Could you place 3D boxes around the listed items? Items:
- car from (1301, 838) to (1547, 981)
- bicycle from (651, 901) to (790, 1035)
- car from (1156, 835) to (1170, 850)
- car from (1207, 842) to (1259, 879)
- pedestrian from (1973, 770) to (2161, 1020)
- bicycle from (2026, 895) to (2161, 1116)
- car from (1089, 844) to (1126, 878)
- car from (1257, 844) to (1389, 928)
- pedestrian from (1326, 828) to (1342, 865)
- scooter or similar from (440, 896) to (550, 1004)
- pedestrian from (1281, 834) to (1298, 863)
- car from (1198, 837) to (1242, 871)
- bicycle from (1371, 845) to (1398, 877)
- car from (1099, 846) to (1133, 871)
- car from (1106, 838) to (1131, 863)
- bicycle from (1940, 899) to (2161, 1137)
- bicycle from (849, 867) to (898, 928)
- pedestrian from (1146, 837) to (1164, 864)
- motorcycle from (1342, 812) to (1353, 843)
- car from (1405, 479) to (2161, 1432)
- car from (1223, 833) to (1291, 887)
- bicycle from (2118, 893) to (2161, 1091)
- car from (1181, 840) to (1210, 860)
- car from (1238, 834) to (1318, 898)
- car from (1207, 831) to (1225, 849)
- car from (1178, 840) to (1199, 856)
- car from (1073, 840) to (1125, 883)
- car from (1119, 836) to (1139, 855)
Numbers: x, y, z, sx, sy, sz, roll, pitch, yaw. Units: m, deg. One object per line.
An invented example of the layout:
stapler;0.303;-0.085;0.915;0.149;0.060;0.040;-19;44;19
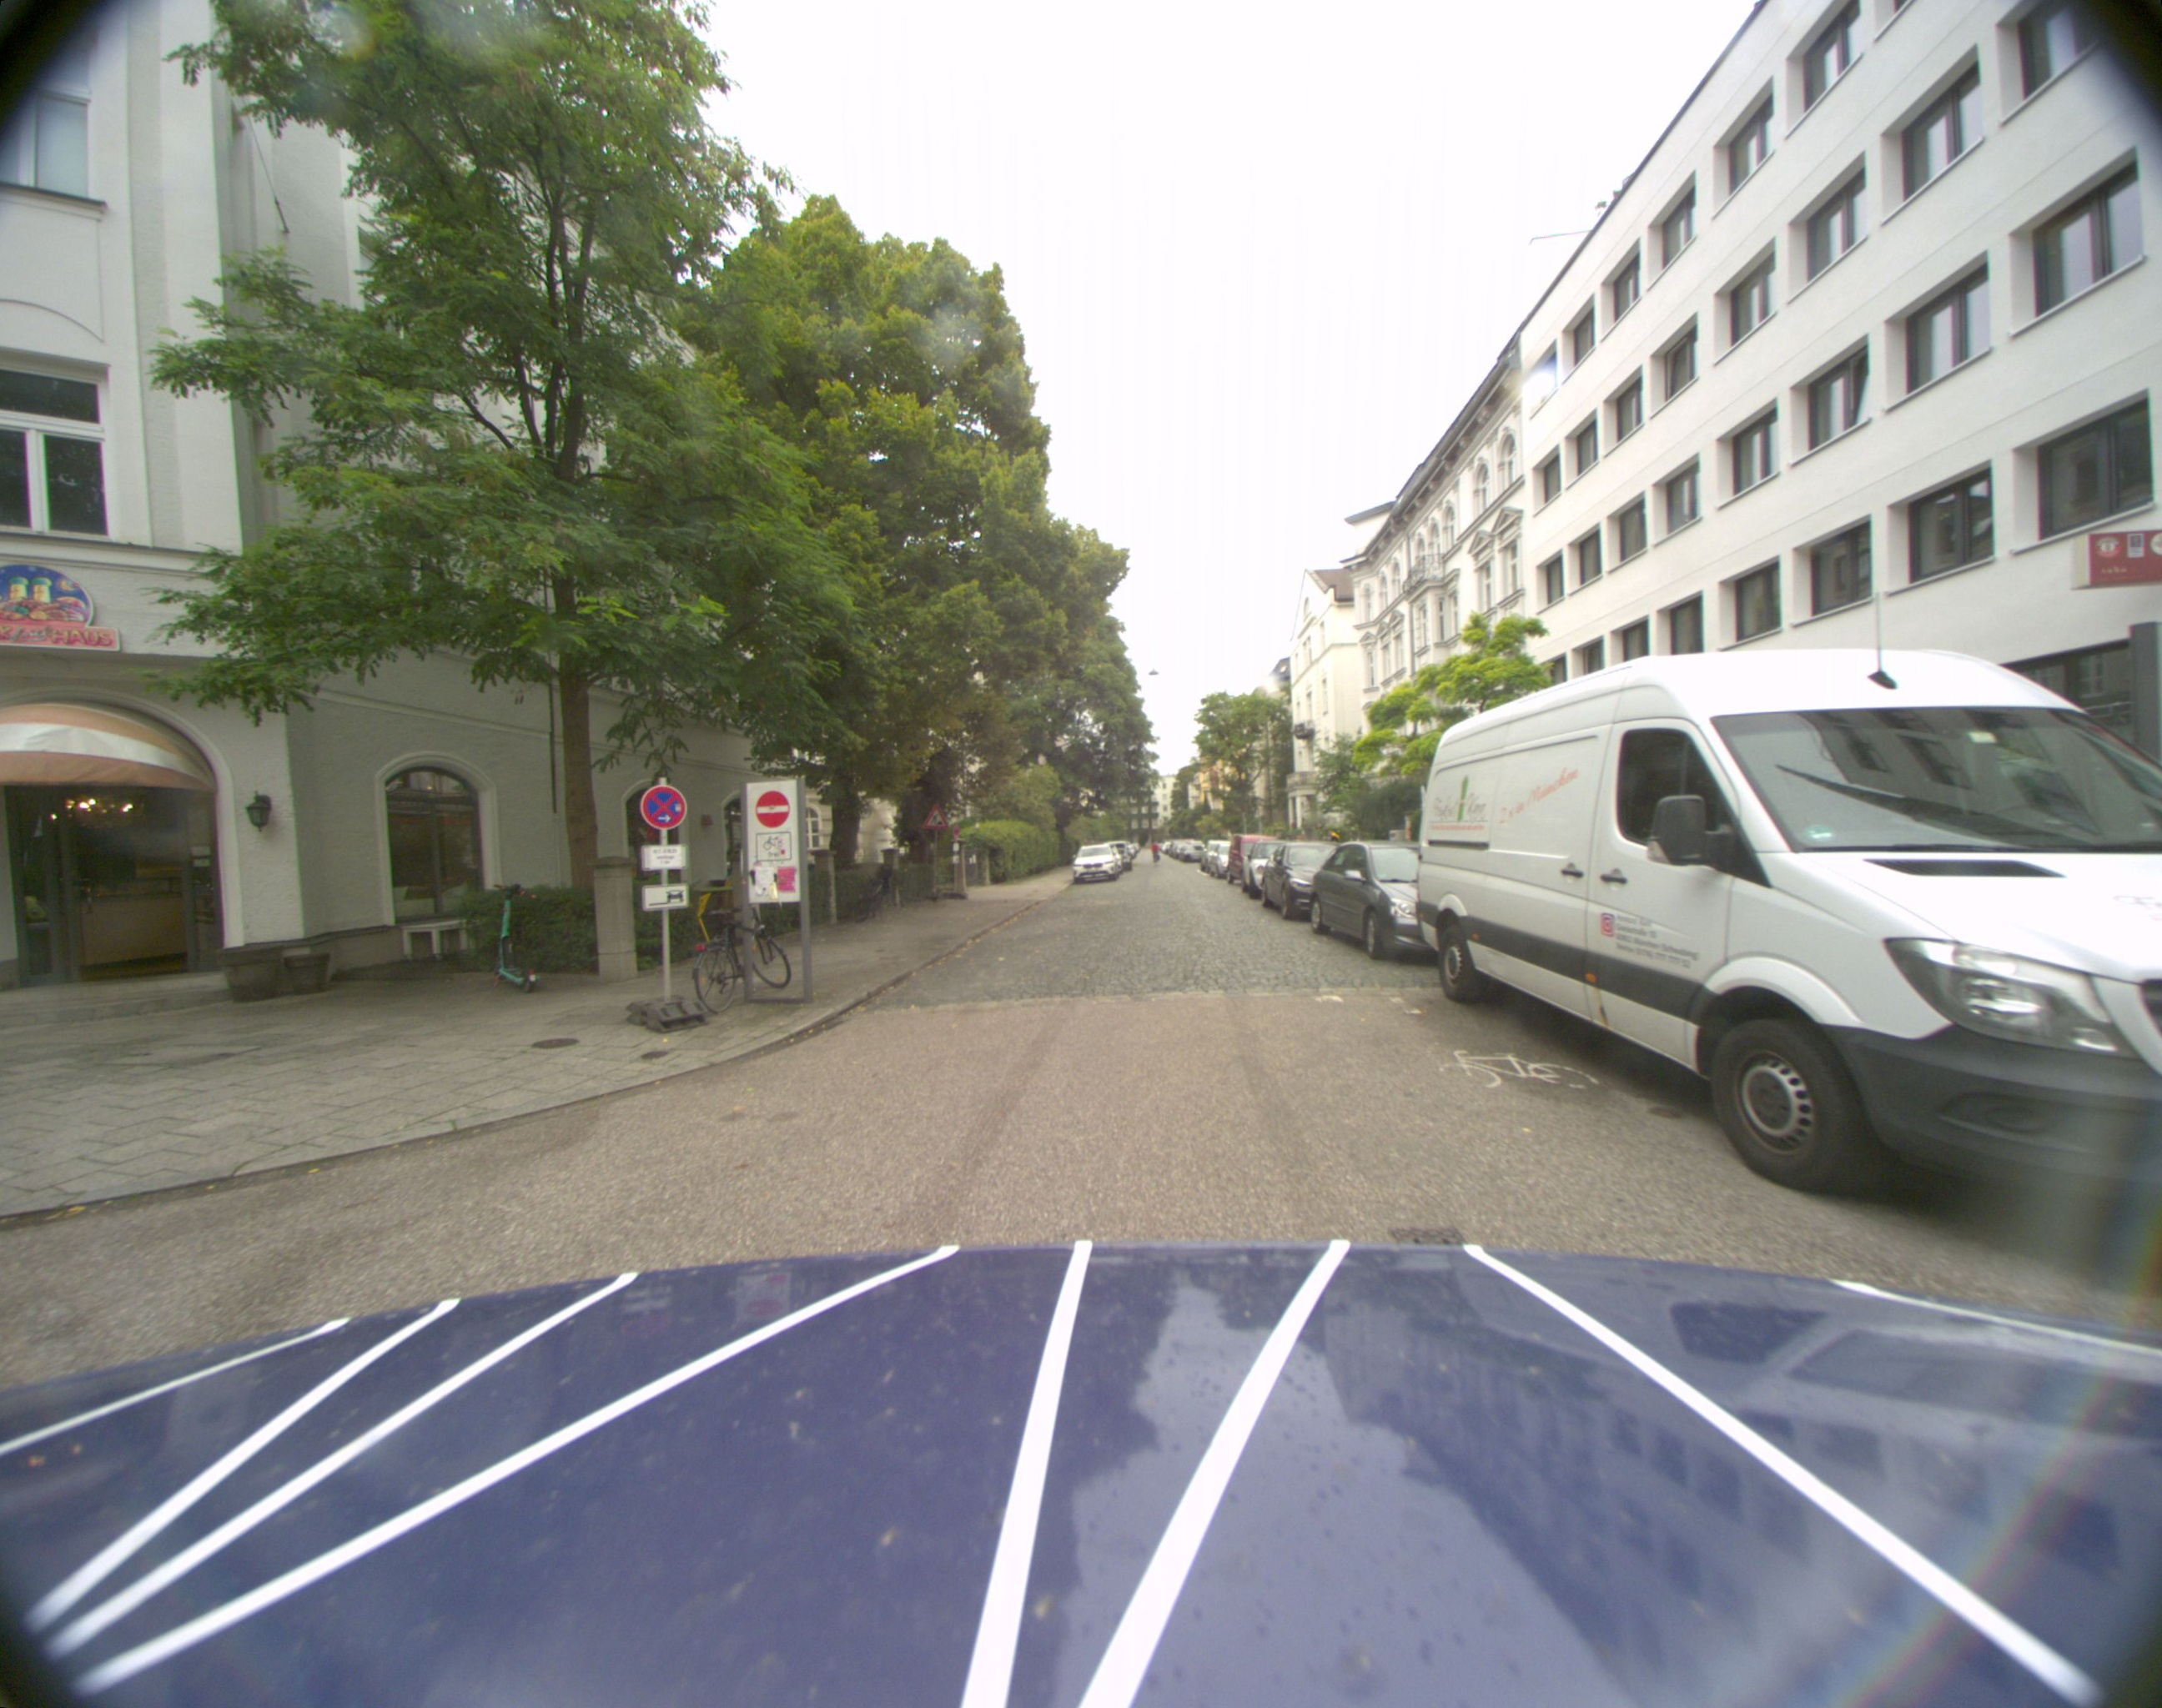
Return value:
car;4.318;0.570;10.292;1.665;1.474;3.982;-3;1;3
bicycle;-3.761;1.144;8.077;0.389;1.140;1.590;-2;2;12
car;11.215;-1.594;103.952;1.762;2.002;4.001;-3;1;6
car;6.415;0.233;32.442;1.635;1.386;3.816;-3;1;4
pedestrian;7.861;0.292;6.023;0.615;1.830;0.813;-3;2;-1
bicycle;5.834;0.838;3.730;0.256;1.120;1.807;-3;2;4
car;1.533;0.333;41.838;1.751;1.591;4.472;-3;1;5
car;4.813;0.546;15.763;1.729;1.456;4.474;0;1;6
pedestrian;11.547;-0.336;34.681;0.577;1.637;0.822;-1;1;12
scooter or similar;-7.245;1.148;9.378;1.603;1.166;0.405;1;4;28
pedestrian;11.964;-0.307;43.629;0.665;1.618;0.670;-2;2;37
car;7.029;-0.050;38.712;1.693;1.563;4.068;-3;1;4
bicycle;10.606;0.233;26.610;0.258;1.072;1.686;-3;0;1
car;2.190;0.241;46.878;1.923;1.291;4.809;-3;1;3
car;3.001;-0.313;60.336;1.818;1.809;4.809;-3;1;4
bicycle;5.451;0.842;3.827;0.286;1.085;1.816;-2;1;4
bicycle;-4.642;0.946;17.093;0.428;1.191;1.731;3;2;6
pedestrian;5.079;-0.257;52.102;1.105;1.768;1.263;-3;2;6
motorcycle;10.687;-1.071;30.464;0.331;1.173;1.627;-2;2;21
car;4.022;0.205;4.826;1.981;2.560;5.795;-1;2;6
car;5.992;0.140;26.190;1.721;1.713;3.899;-1;2;5
bicycle;6.283;0.820;3.682;0.256;1.120;1.730;-3;2;4
car;9.053;-0.317;60.377;1.885;1.411;4.809;-2;1;4
car;5.304;0.266;20.808;1.696;1.495;3.778;-3;1;9
car;15.795;-1.620;89.022;1.762;2.002;4.001;-3;1;6
car;10.298;-0.583;73.007;1.713;1.417;4.001;-3;1;6
car;0.880;0.269;34.524;1.924;1.676;4.634;-3;2;6
car;5.524;-1.004;86.432;1.998;2.002;4.001;-3;1;6
